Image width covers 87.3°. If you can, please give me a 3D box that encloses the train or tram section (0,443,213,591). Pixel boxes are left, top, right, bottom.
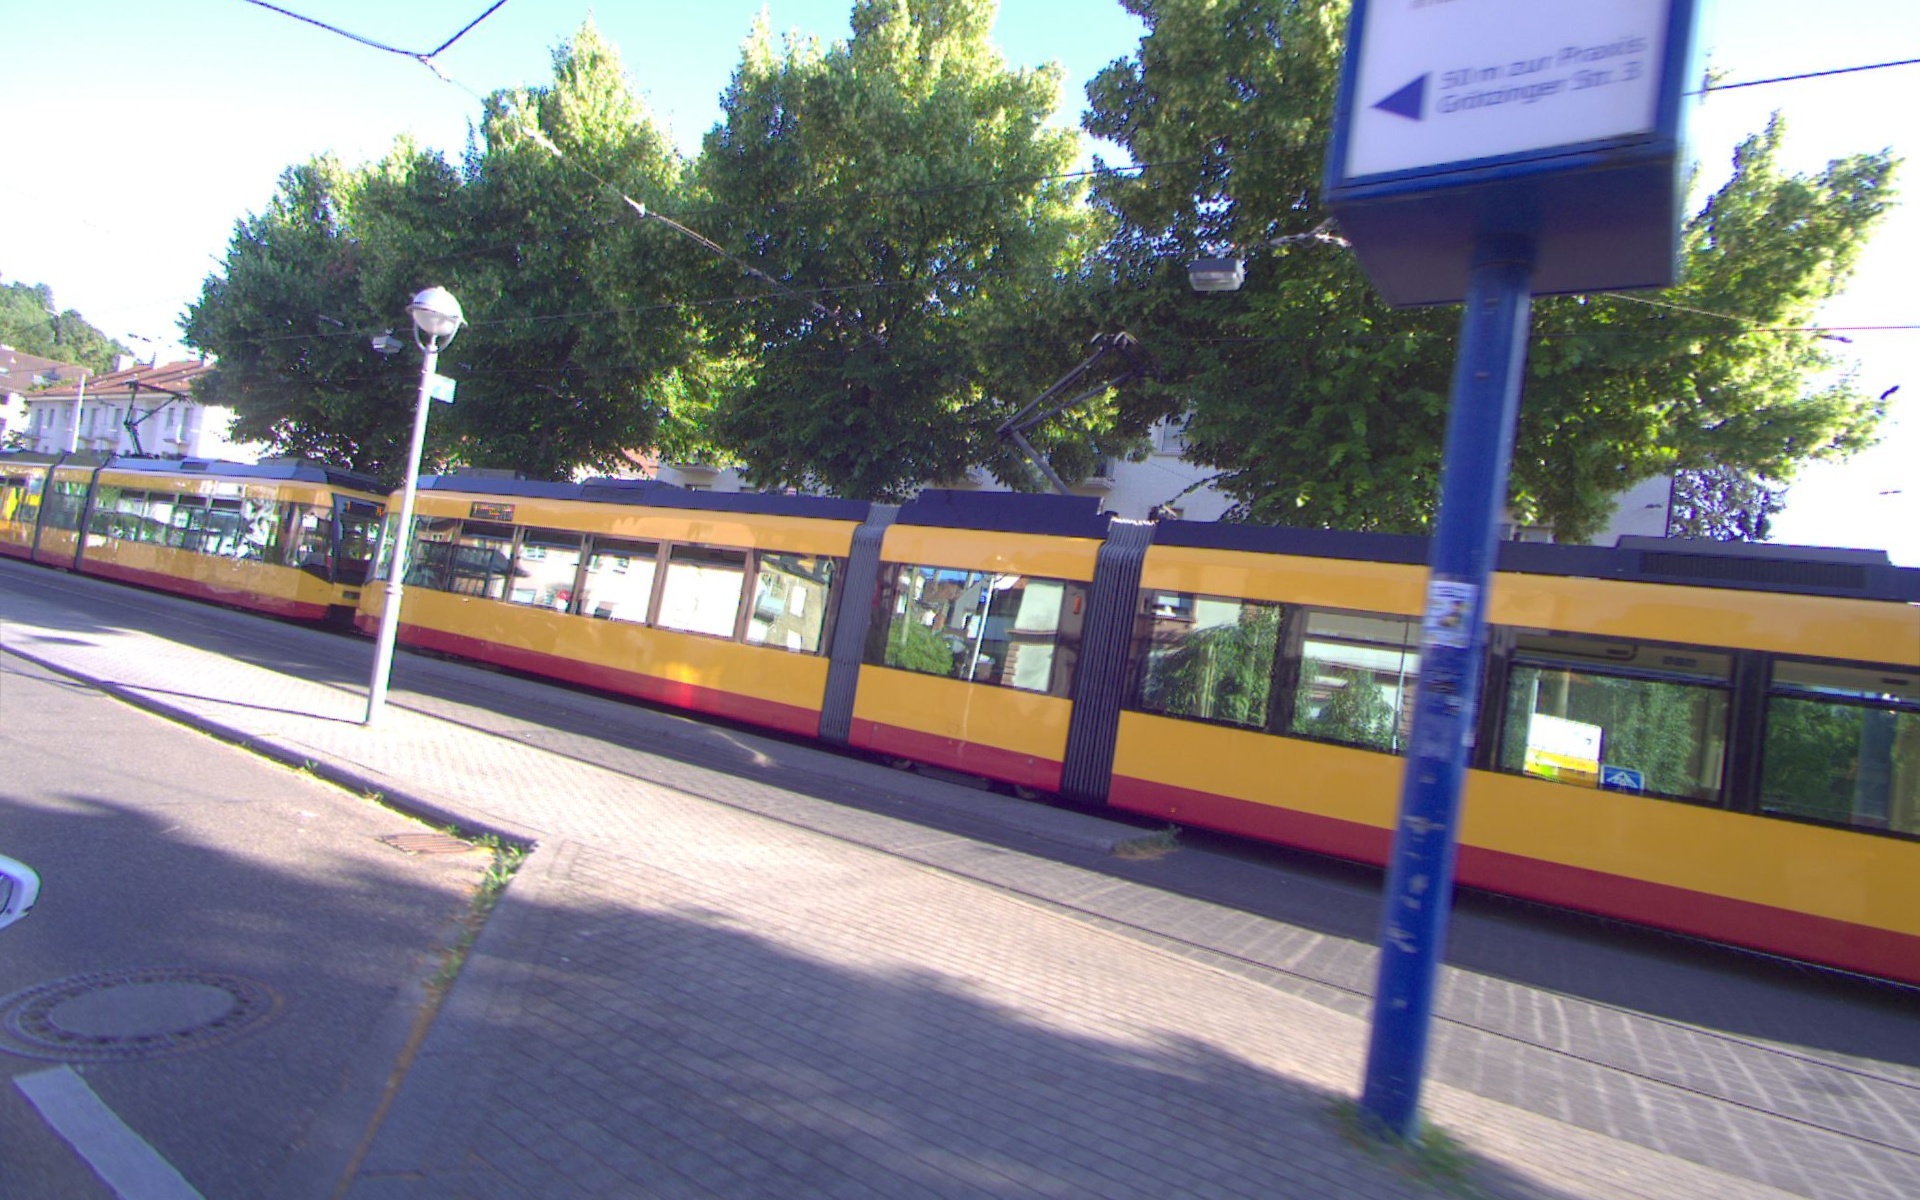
[{"bbox_3d":[-29.017,-2.838,31.850,15.710,3.575,2.962,6,-2,33],"label":"train or tram section"}]

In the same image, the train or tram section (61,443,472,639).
[{"bbox_3d":[-17.117,-1.641,24.148,13.245,3.575,2.962,6,-2,33],"label":"train or tram section"}]

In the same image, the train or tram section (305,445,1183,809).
[{"bbox_3d":[-4.676,-0.205,15.989,15.674,3.462,2.963,7,-1,32],"label":"train or tram section"}]

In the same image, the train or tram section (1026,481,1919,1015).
[{"bbox_3d":[7.308,1.306,8.635,13.237,3.461,2.964,7,-1,31],"label":"train or tram section"}]
